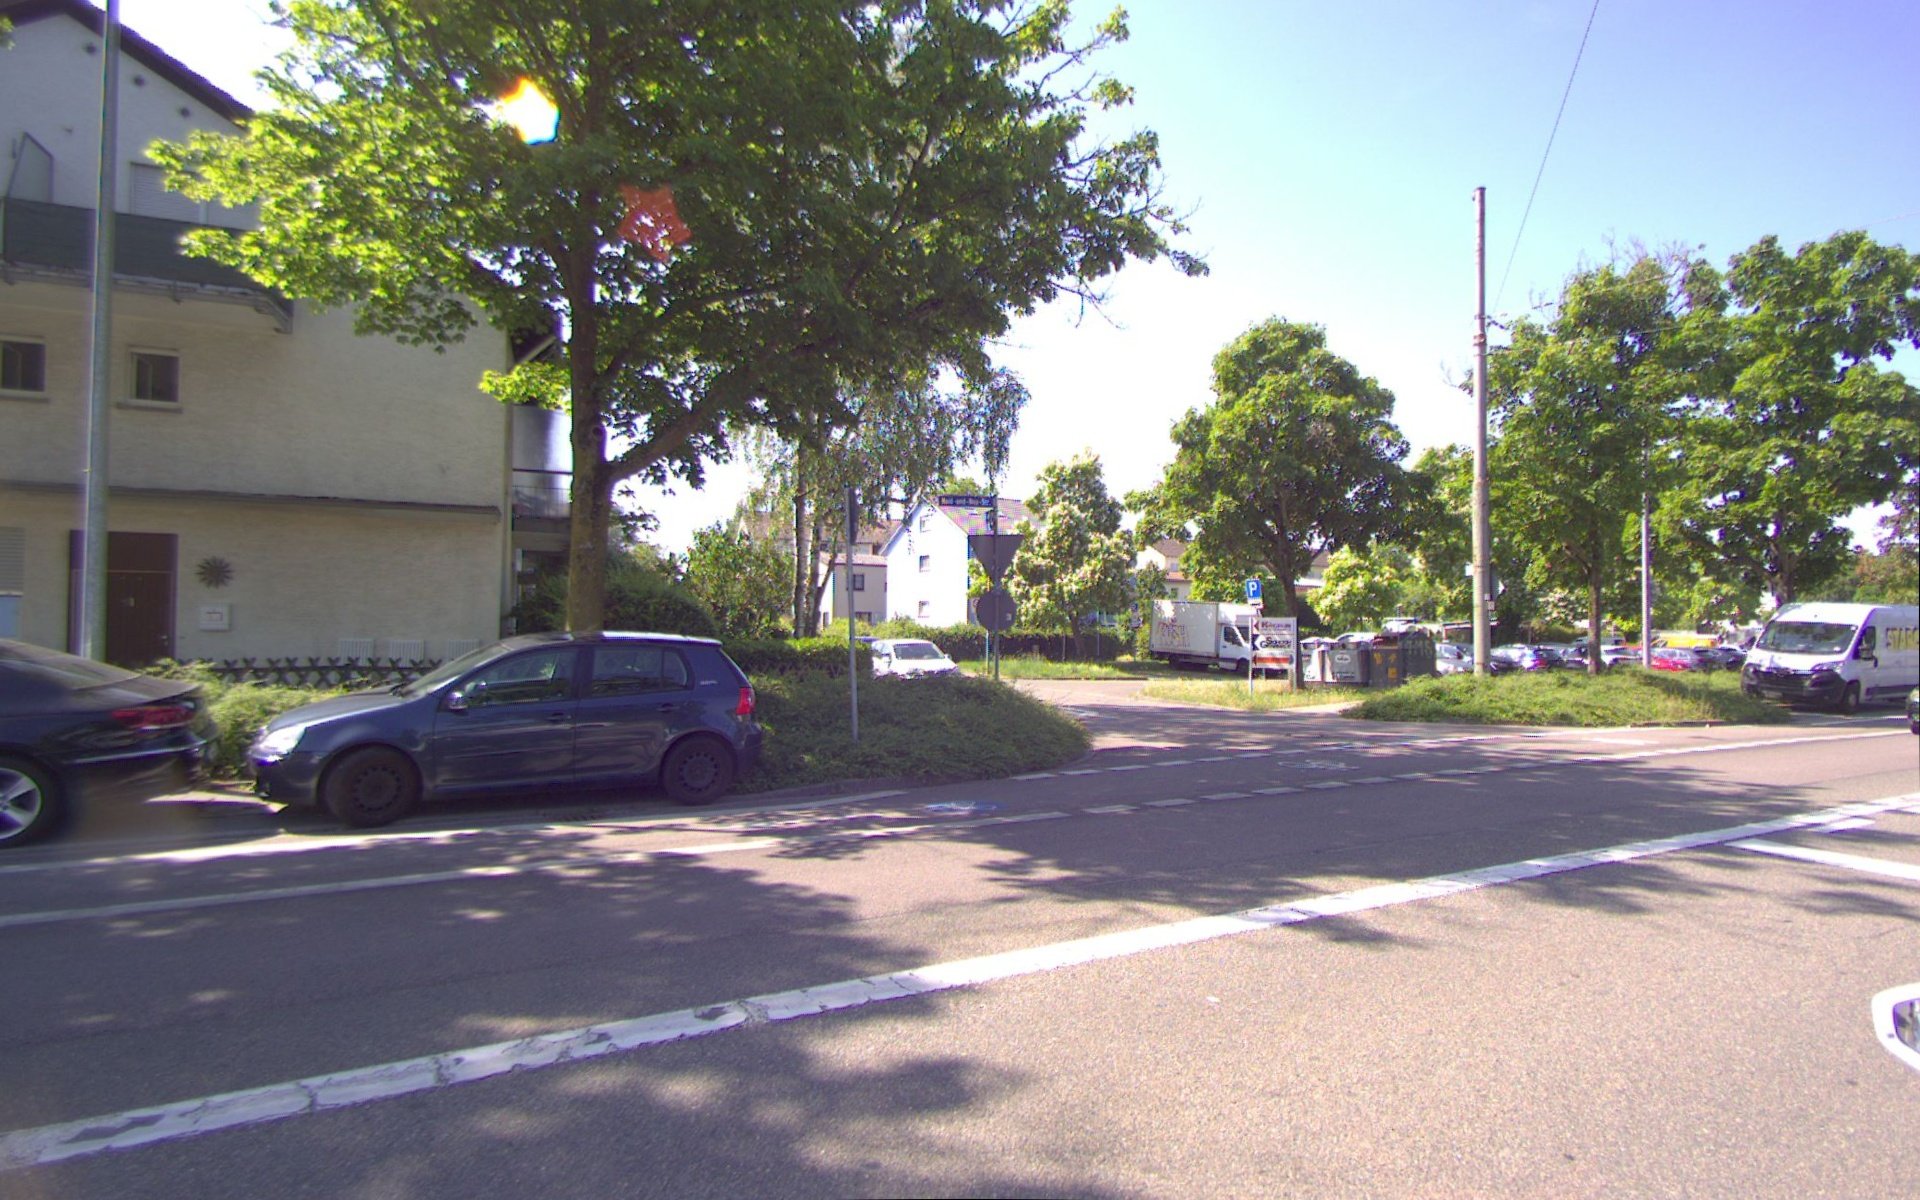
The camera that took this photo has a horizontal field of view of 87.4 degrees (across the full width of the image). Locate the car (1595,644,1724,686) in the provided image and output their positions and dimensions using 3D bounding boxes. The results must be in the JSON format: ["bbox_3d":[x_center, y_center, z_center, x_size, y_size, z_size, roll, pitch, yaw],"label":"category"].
[{"bbox_3d":[28.273,2.600,40.707,1.644,1.564,3.969,2,-2,-30],"label":"car"}]

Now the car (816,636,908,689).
[{"bbox_3d":[-3.150,1.939,31.599,1.782,1.545,3.978,2,-3,-23],"label":"car"}]

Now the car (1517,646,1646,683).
[{"bbox_3d":[23.635,2.445,38.346,1.644,1.287,3.898,2,-3,-30],"label":"car"}]

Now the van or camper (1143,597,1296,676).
[{"bbox_3d":[11.593,1.590,45.522,2.553,3.287,6.913,2,-1,-31],"label":"van or camper"}]

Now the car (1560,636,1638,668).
[{"bbox_3d":[42.444,3.413,66.798,1.890,2.029,3.964,2,-2,-33],"label":"car"}]

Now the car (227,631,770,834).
[{"bbox_3d":[-3.900,1.035,8.965,4.033,1.470,1.609,2,-2,-29],"label":"car"}]

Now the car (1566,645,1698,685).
[{"bbox_3d":[26.184,2.512,39.258,1.712,1.428,3.969,2,-2,-30],"label":"car"}]

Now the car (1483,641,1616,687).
[{"bbox_3d":[21.693,2.333,37.097,1.644,1.564,3.969,2,-3,-30],"label":"car"}]

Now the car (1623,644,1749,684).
[{"bbox_3d":[30.225,2.651,41.948,1.644,1.564,3.969,2,-3,-30],"label":"car"}]

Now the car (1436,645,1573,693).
[{"bbox_3d":[18.998,2.374,35.184,1.645,1.564,3.967,2,-3,-31],"label":"car"}]

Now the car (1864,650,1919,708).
[{"bbox_3d":[26.707,2.113,27.232,4.829,1.474,1.923,2,-2,-30],"label":"car"}]

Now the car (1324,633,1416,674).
[{"bbox_3d":[20.333,2.614,49.922,1.766,1.915,3.964,2,-2,-33],"label":"car"}]

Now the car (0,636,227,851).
[{"bbox_3d":[-7.906,0.948,6.806,4.527,1.413,1.689,2,-2,-30],"label":"car"}]

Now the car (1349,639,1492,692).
[{"bbox_3d":[14.747,2.061,32.374,1.645,1.564,3.967,2,-3,-31],"label":"car"}]

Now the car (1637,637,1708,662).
[{"bbox_3d":[65.458,4.570,92.364,2.077,2.202,4.902,2,-3,-32],"label":"car"}]

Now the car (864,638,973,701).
[{"bbox_3d":[-1.202,1.794,27.011,1.781,1.545,3.981,0,-2,-21],"label":"car"}]

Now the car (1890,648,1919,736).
[{"bbox_3d":[17.853,1.551,17.030,4.251,1.428,1.778,2,-2,-28],"label":"car"}]

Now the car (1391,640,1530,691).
[{"bbox_3d":[16.778,2.174,33.877,1.645,1.564,3.967,2,-3,-31],"label":"car"}]

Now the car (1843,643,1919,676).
[{"bbox_3d":[51.081,3.262,54.864,1.645,1.716,3.967,2,-3,-31],"label":"car"}]

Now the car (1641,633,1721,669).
[{"bbox_3d":[47.987,3.371,66.920,1.890,2.229,3.964,2,-2,-33],"label":"car"}]

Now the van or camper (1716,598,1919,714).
[{"bbox_3d":[21.192,1.345,24.405,6.072,2.547,2.248,2,-2,-29],"label":"van or camper"}]
